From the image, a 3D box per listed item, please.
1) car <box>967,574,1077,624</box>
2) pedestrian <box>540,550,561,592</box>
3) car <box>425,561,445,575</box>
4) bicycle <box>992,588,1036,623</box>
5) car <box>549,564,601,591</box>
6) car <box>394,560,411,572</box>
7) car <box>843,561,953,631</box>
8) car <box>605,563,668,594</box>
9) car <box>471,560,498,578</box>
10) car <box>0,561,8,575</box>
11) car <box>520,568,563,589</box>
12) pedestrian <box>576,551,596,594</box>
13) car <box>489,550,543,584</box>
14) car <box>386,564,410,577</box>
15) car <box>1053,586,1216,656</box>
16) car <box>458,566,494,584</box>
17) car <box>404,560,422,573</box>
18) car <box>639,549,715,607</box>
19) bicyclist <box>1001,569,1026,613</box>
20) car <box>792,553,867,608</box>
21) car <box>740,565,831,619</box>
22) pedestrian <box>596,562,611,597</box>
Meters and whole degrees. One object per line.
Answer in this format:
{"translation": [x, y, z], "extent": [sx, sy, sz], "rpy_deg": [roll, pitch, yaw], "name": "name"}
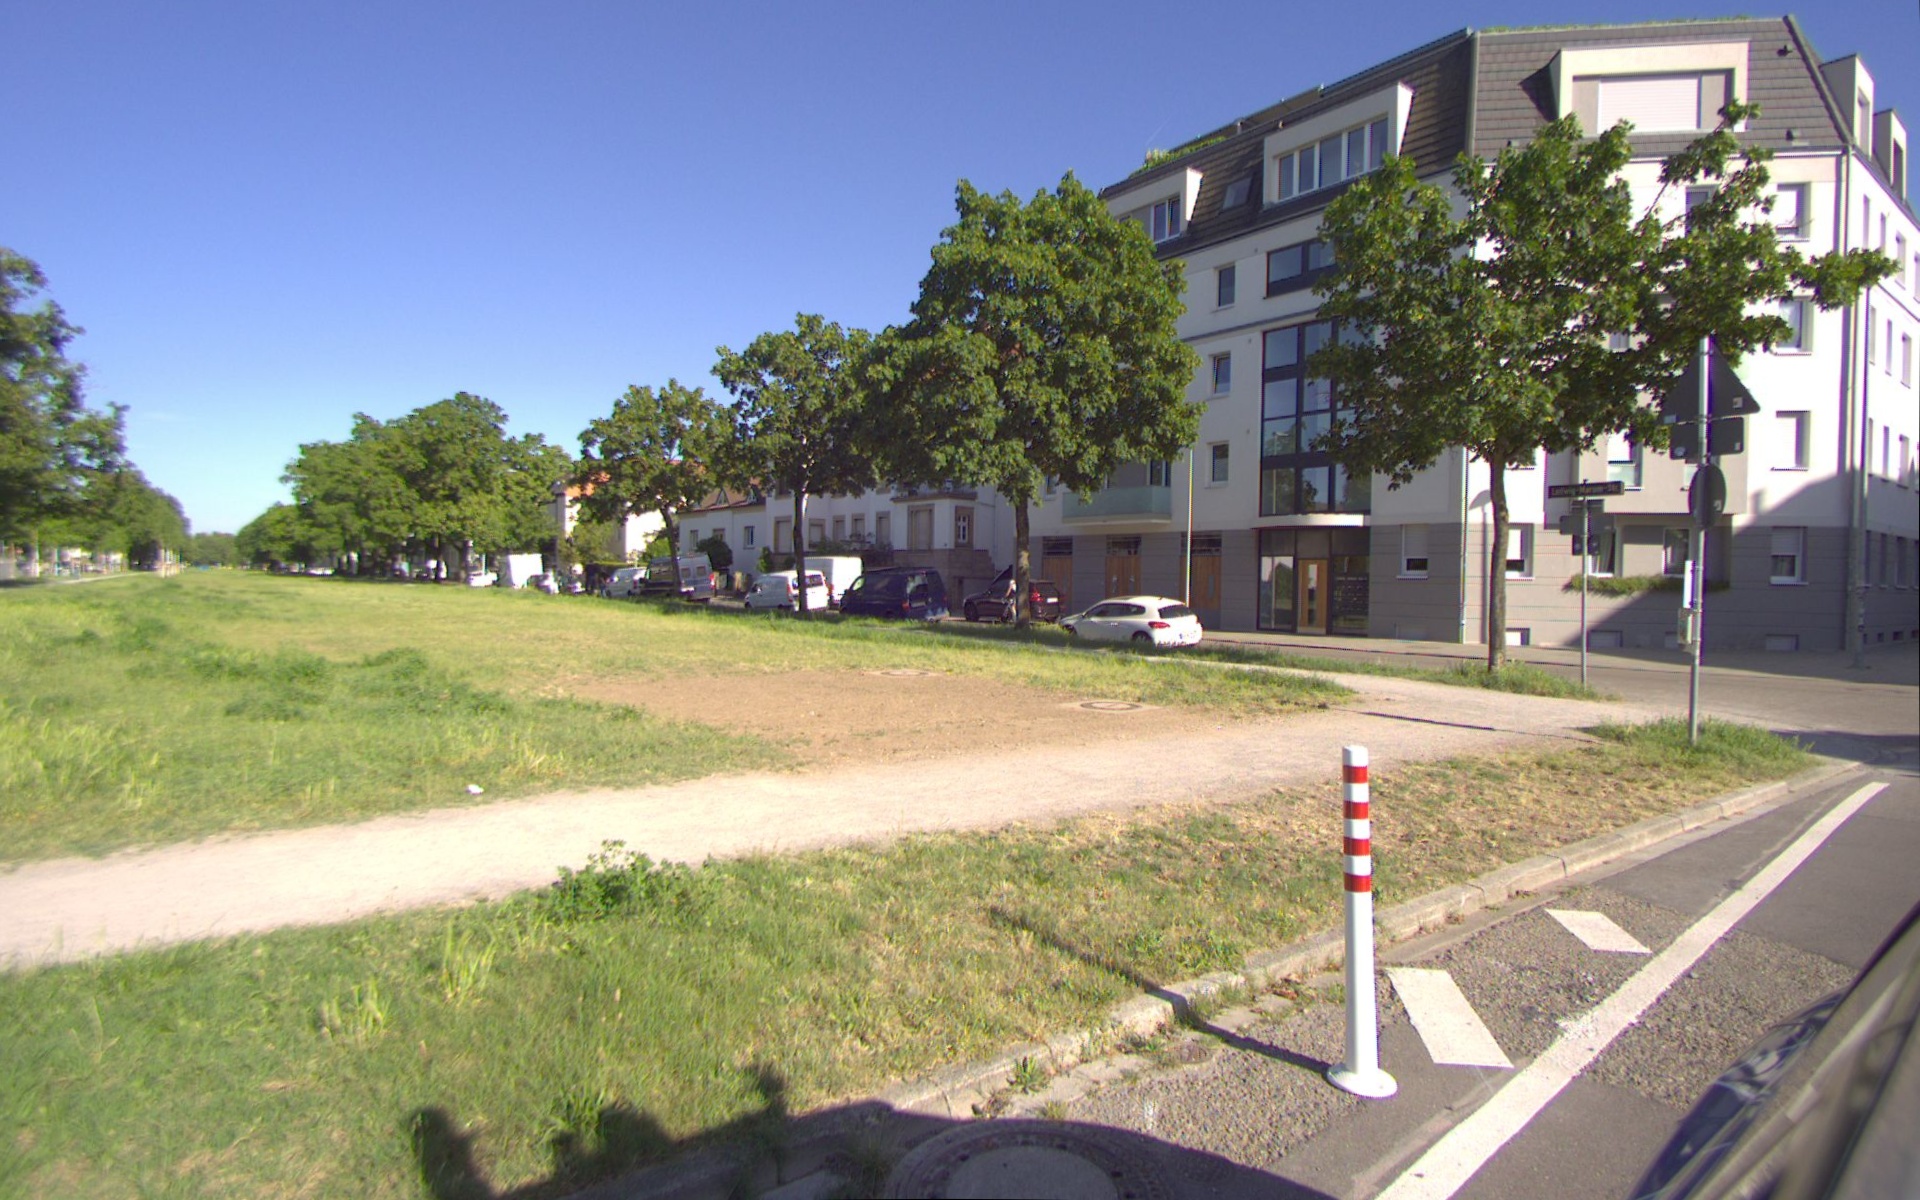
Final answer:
{"translation": [2.272, -0.107, 38.118], "extent": [1.861, 1.703, 4.289], "rpy_deg": [-1, 3, -36], "name": "car"}
{"translation": [-18.673, -1.306, 46.182], "extent": [0.711, 1.900, 0.629], "rpy_deg": [1, 1, -38], "name": "pedestrian"}
{"translation": [-70.663, -4.312, 136.186], "extent": [1.831, 1.868, 3.994], "rpy_deg": [0, 2, -36], "name": "car"}
{"translation": [1.822, 0.179, 34.298], "extent": [0.498, 1.102, 1.708], "rpy_deg": [0, 2, -38], "name": "bicycle"}
{"translation": [-24.585, -1.462, 64.582], "extent": [2.046, 1.618, 4.288], "rpy_deg": [0, 2, -36], "name": "car"}
{"translation": [-87.472, -5.356, 158.708], "extent": [1.831, 1.868, 3.994], "rpy_deg": [0, 2, -36], "name": "car"}
{"translation": [-2.146, -0.201, 34.071], "extent": [1.752, 2.108, 3.994], "rpy_deg": [-5, 5, -36], "name": "car"}
{"translation": [-17.849, -1.216, 55.739], "extent": [2.046, 1.618, 4.288], "rpy_deg": [0, 2, -36], "name": "car"}
{"translation": [-50.711, -3.355, 107.857], "extent": [1.831, 1.868, 3.994], "rpy_deg": [0, 2, -36], "name": "car"}
{"translation": [-101.041, -3.352, 105.862], "extent": [1.690, 1.358, 3.808], "rpy_deg": [0, 2, -37], "name": "car"}
{"translation": [-29.265, -1.534, 70.747], "extent": [1.898, 1.361, 4.110], "rpy_deg": [0, 2, -36], "name": "car"}
{"translation": [-16.466, -1.216, 44.554], "extent": [0.632, 1.900, 0.629], "rpy_deg": [0, 1, -38], "name": "pedestrian"}
{"translation": [-33.317, -2.474, 75.801], "extent": [2.503, 2.363, 5.920], "rpy_deg": [0, 2, -36], "name": "car"}
{"translation": [-69.328, -3.677, 124.864], "extent": [2.042, 1.484, 4.728], "rpy_deg": [0, 2, -36], "name": "car"}
{"translation": [4.354, 0.470, 25.722], "extent": [1.709, 1.450, 3.993], "rpy_deg": [-5, 5, -37], "name": "car"}
{"translation": [-42.352, -2.212, 88.448], "extent": [2.042, 1.484, 4.728], "rpy_deg": [0, 2, -36], "name": "car"}
{"translation": [-79.056, -4.807, 146.239], "extent": [1.831, 1.868, 3.994], "rpy_deg": [0, 2, -36], "name": "car"}
{"translation": [-14.037, -1.137, 50.092], "extent": [2.153, 2.615, 4.288], "rpy_deg": [-5, 4, -36], "name": "car"}
{"translation": [1.807, -0.310, 34.314], "extent": [0.489, 1.482, 0.687], "rpy_deg": [0, 1, -38], "name": "bicyclist"}
{"translation": [-6.444, -1.015, 49.747], "extent": [1.985, 2.580, 3.994], "rpy_deg": [-1, 2, -36], "name": "car"}
{"translation": [-7.081, -0.386, 40.773], "extent": [1.842, 1.906, 4.425], "rpy_deg": [-5, 5, -34], "name": "car"}
{"translation": [-15.716, -0.896, 44.583], "extent": [0.487, 1.524, 0.535], "rpy_deg": [1, 1, -37], "name": "pedestrian"}
